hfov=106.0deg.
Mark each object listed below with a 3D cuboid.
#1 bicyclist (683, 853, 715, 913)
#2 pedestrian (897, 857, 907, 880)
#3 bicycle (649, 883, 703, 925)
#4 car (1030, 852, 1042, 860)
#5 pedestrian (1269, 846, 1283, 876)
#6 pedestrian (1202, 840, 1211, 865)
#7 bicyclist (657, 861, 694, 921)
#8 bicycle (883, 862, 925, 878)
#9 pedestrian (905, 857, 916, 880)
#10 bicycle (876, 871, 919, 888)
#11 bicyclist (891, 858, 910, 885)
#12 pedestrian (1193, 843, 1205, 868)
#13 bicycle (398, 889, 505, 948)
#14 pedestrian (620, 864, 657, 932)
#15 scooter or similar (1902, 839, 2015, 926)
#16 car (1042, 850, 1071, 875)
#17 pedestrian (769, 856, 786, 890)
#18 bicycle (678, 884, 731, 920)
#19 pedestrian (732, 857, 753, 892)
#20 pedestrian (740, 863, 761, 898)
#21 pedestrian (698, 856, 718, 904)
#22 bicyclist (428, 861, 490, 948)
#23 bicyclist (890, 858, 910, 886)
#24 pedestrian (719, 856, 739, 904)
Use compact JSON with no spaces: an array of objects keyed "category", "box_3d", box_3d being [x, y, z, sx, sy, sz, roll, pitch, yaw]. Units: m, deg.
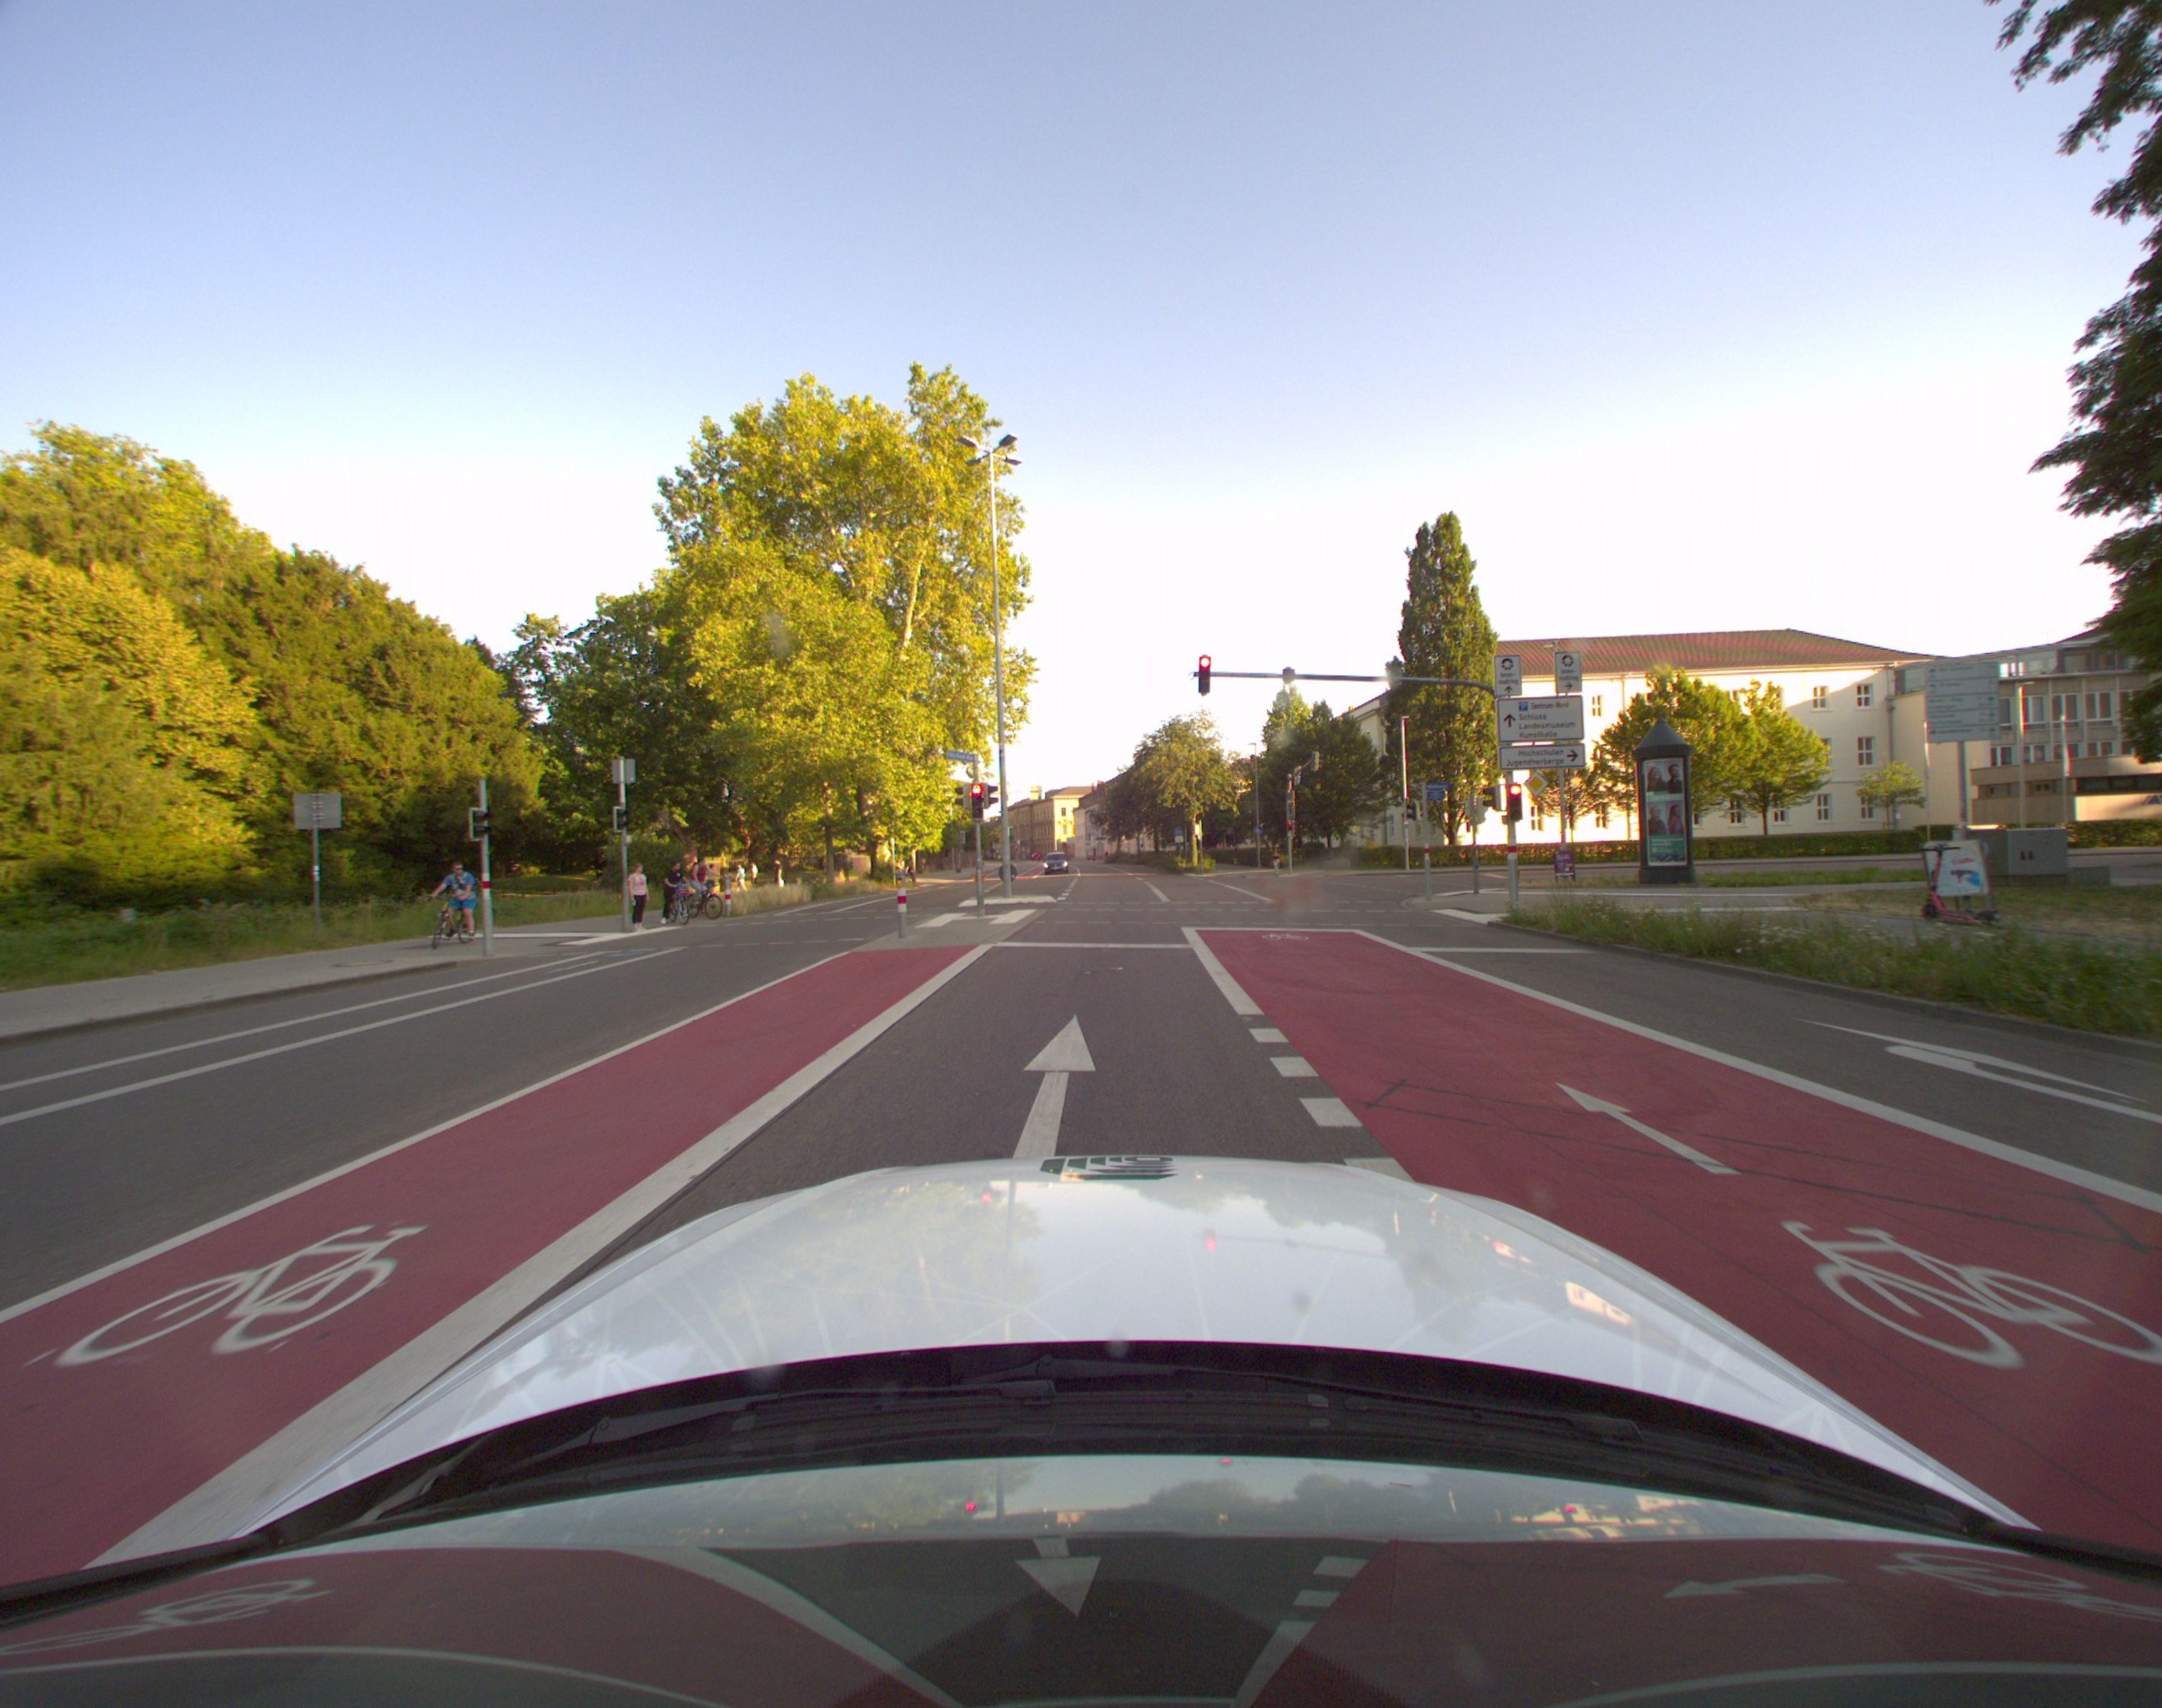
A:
[{"category":"bicyclist","box_3d":[-11.595,0.866,24.734,0.631,1.780,0.580,-2,0,33]},{"category":"pedestrian","box_3d":[-12.748,1.058,58.022,0.533,1.596,0.591,-2,0,2]},{"category":"bicycle","box_3d":[-11.410,1.401,22.949,1.548,1.111,0.637,-2,0,33]},{"category":"car","box_3d":[-9.945,0.383,179.677,1.821,1.588,3.984,-3,0,-12]},{"category":"pedestrian","box_3d":[10.924,0.394,45.653,0.597,1.636,0.692,-1,0,1]},{"category":"pedestrian","box_3d":[10.308,-0.124,66.926,0.633,2.013,0.720,-1,0,-2]},{"category":"bicyclist","box_3d":[-11.433,1.039,22.959,0.631,1.649,0.634,-2,0,33]},{"category":"bicycle","box_3d":[-11.229,0.999,51.660,2.420,0.924,0.775,-2,0,2]},{"category":"pedestrian","box_3d":[-12.112,1.048,57.848,0.596,1.573,0.646,-2,0,2]},{"category":"bicycle","box_3d":[-11.252,1.586,50.099,2.420,0.924,0.775,-2,0,2]},{"category":"bicyclist","box_3d":[-11.423,1.098,51.664,0.954,1.631,0.753,-2,0,3]},{"category":"pedestrian","box_3d":[9.614,0.106,66.132,0.866,2.013,0.723,-1,0,2]},{"category":"bicycle","box_3d":[-13.754,1.379,17.892,0.768,1.100,2.120,-2,0,-3]},{"category":"pedestrian","box_3d":[-11.314,1.108,20.815,0.604,1.695,0.499,-2,0,3]},{"category":"scooter or similar","box_3d":[13.227,0.409,12.318,0.309,1.231,1.312,-2,0,2]},{"category":"car","box_3d":[-1.815,0.608,62.194,1.843,1.720,4.297,-4,0,2]},{"category":"pedestrian","box_3d":[-17.949,1.120,48.244,0.637,2.013,0.702,-2,0,4]},{"category":"bicycle","box_3d":[-11.383,1.446,24.613,1.749,1.030,0.583,-2,0,33]},{"category":"pedestrian","box_3d":[-19.850,1.186,47.778,0.799,2.013,0.994,-1,0,2]},{"category":"pedestrian","box_3d":[-19.865,1.576,48.968,0.756,2.013,1.079,-1,0,7]},{"category":"pedestrian","box_3d":[-15.930,1.093,34.817,0.654,2.013,0.599,-1,0,-36]},{"category":"bicyclist","box_3d":[-13.725,1.096,17.982,0.734,1.823,0.711,-3,1,-5]},{"category":"bicyclist","box_3d":[-11.122,1.093,50.100,0.954,1.631,0.753,-2,0,3]},{"category":"pedestrian","box_3d":[-14.946,1.083,34.581,0.598,2.013,0.634,-1,0,-38]}]
